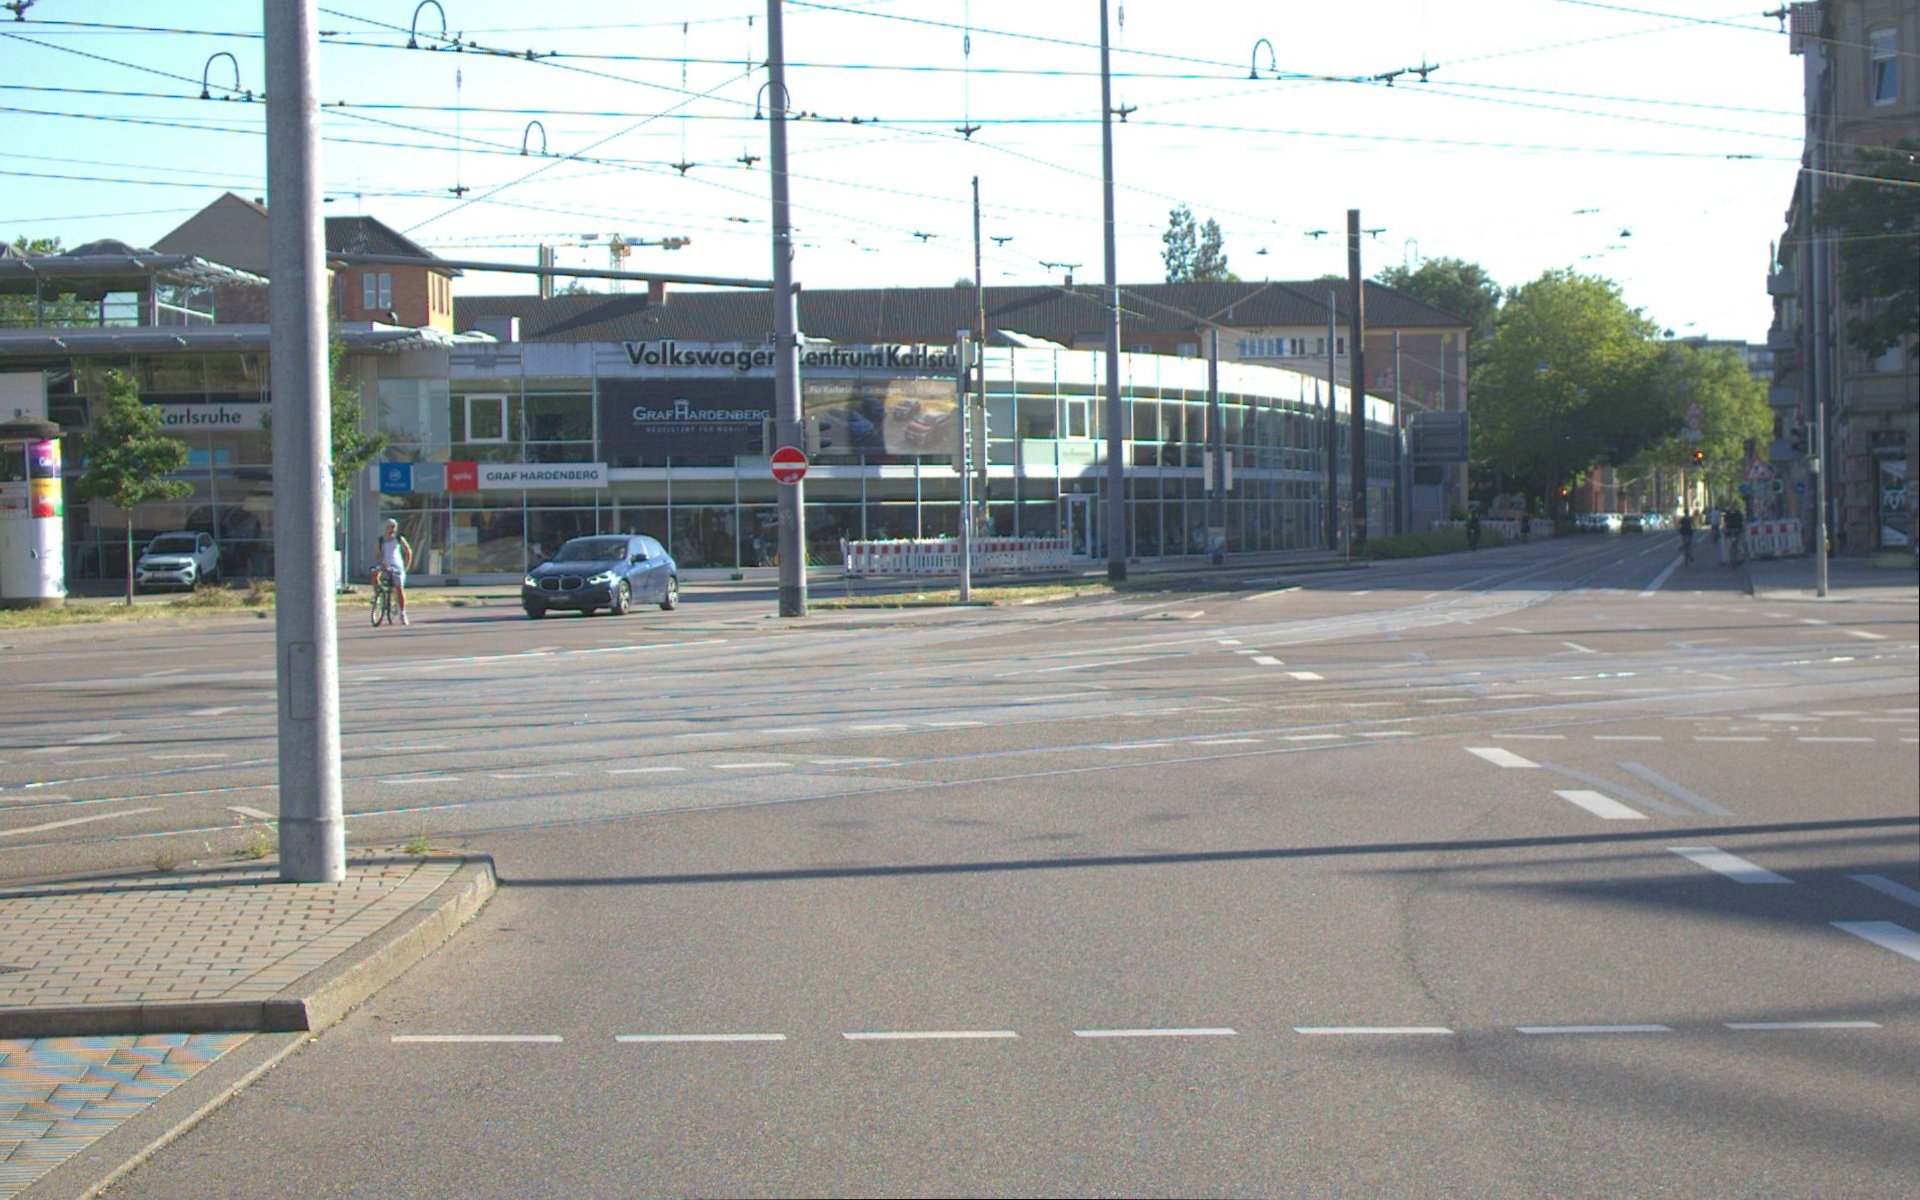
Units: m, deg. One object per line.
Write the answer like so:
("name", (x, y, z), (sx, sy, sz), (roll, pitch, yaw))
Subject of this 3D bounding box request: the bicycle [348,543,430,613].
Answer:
("bicycle", (-9.897, -0.375, 59.640), (0.613, 1.185, 1.867), (1, 1, 17))

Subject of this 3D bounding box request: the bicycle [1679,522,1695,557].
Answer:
("bicycle", (20.266, -1.679, 95.786), (0.410, 0.938, 1.844), (1, 1, 12))

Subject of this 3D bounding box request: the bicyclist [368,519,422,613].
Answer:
("bicyclist", (-9.828, -0.595, 59.841), (0.598, 1.610, 0.822), (1, 0, 17))

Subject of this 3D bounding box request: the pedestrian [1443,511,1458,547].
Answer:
("pedestrian", (27.904, -4.023, 195.585), (0.716, 2.007, 0.758), (1, 0, 1))

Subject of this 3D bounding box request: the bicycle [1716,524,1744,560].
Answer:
("bicycle", (20.786, -1.565, 92.833), (0.658, 0.949, 1.599), (1, 1, 15))

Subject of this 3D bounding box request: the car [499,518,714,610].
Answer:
("car", (-6.305, -0.639, 61.744), (1.996, 1.579, 3.994), (1, 1, 27))

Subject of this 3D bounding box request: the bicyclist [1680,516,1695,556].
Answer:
("bicyclist", (20.296, -1.779, 95.910), (0.408, 1.112, 0.399), (1, 0, 11))

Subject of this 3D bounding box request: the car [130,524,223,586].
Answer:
("car", (-22.595, -1.297, 99.313), (1.993, 1.744, 4.001), (1, 1, -4))

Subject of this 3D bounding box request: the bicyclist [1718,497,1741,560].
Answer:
("bicyclist", (20.800, -1.931, 92.926), (0.519, 1.695, 0.515), (1, 0, 17))
